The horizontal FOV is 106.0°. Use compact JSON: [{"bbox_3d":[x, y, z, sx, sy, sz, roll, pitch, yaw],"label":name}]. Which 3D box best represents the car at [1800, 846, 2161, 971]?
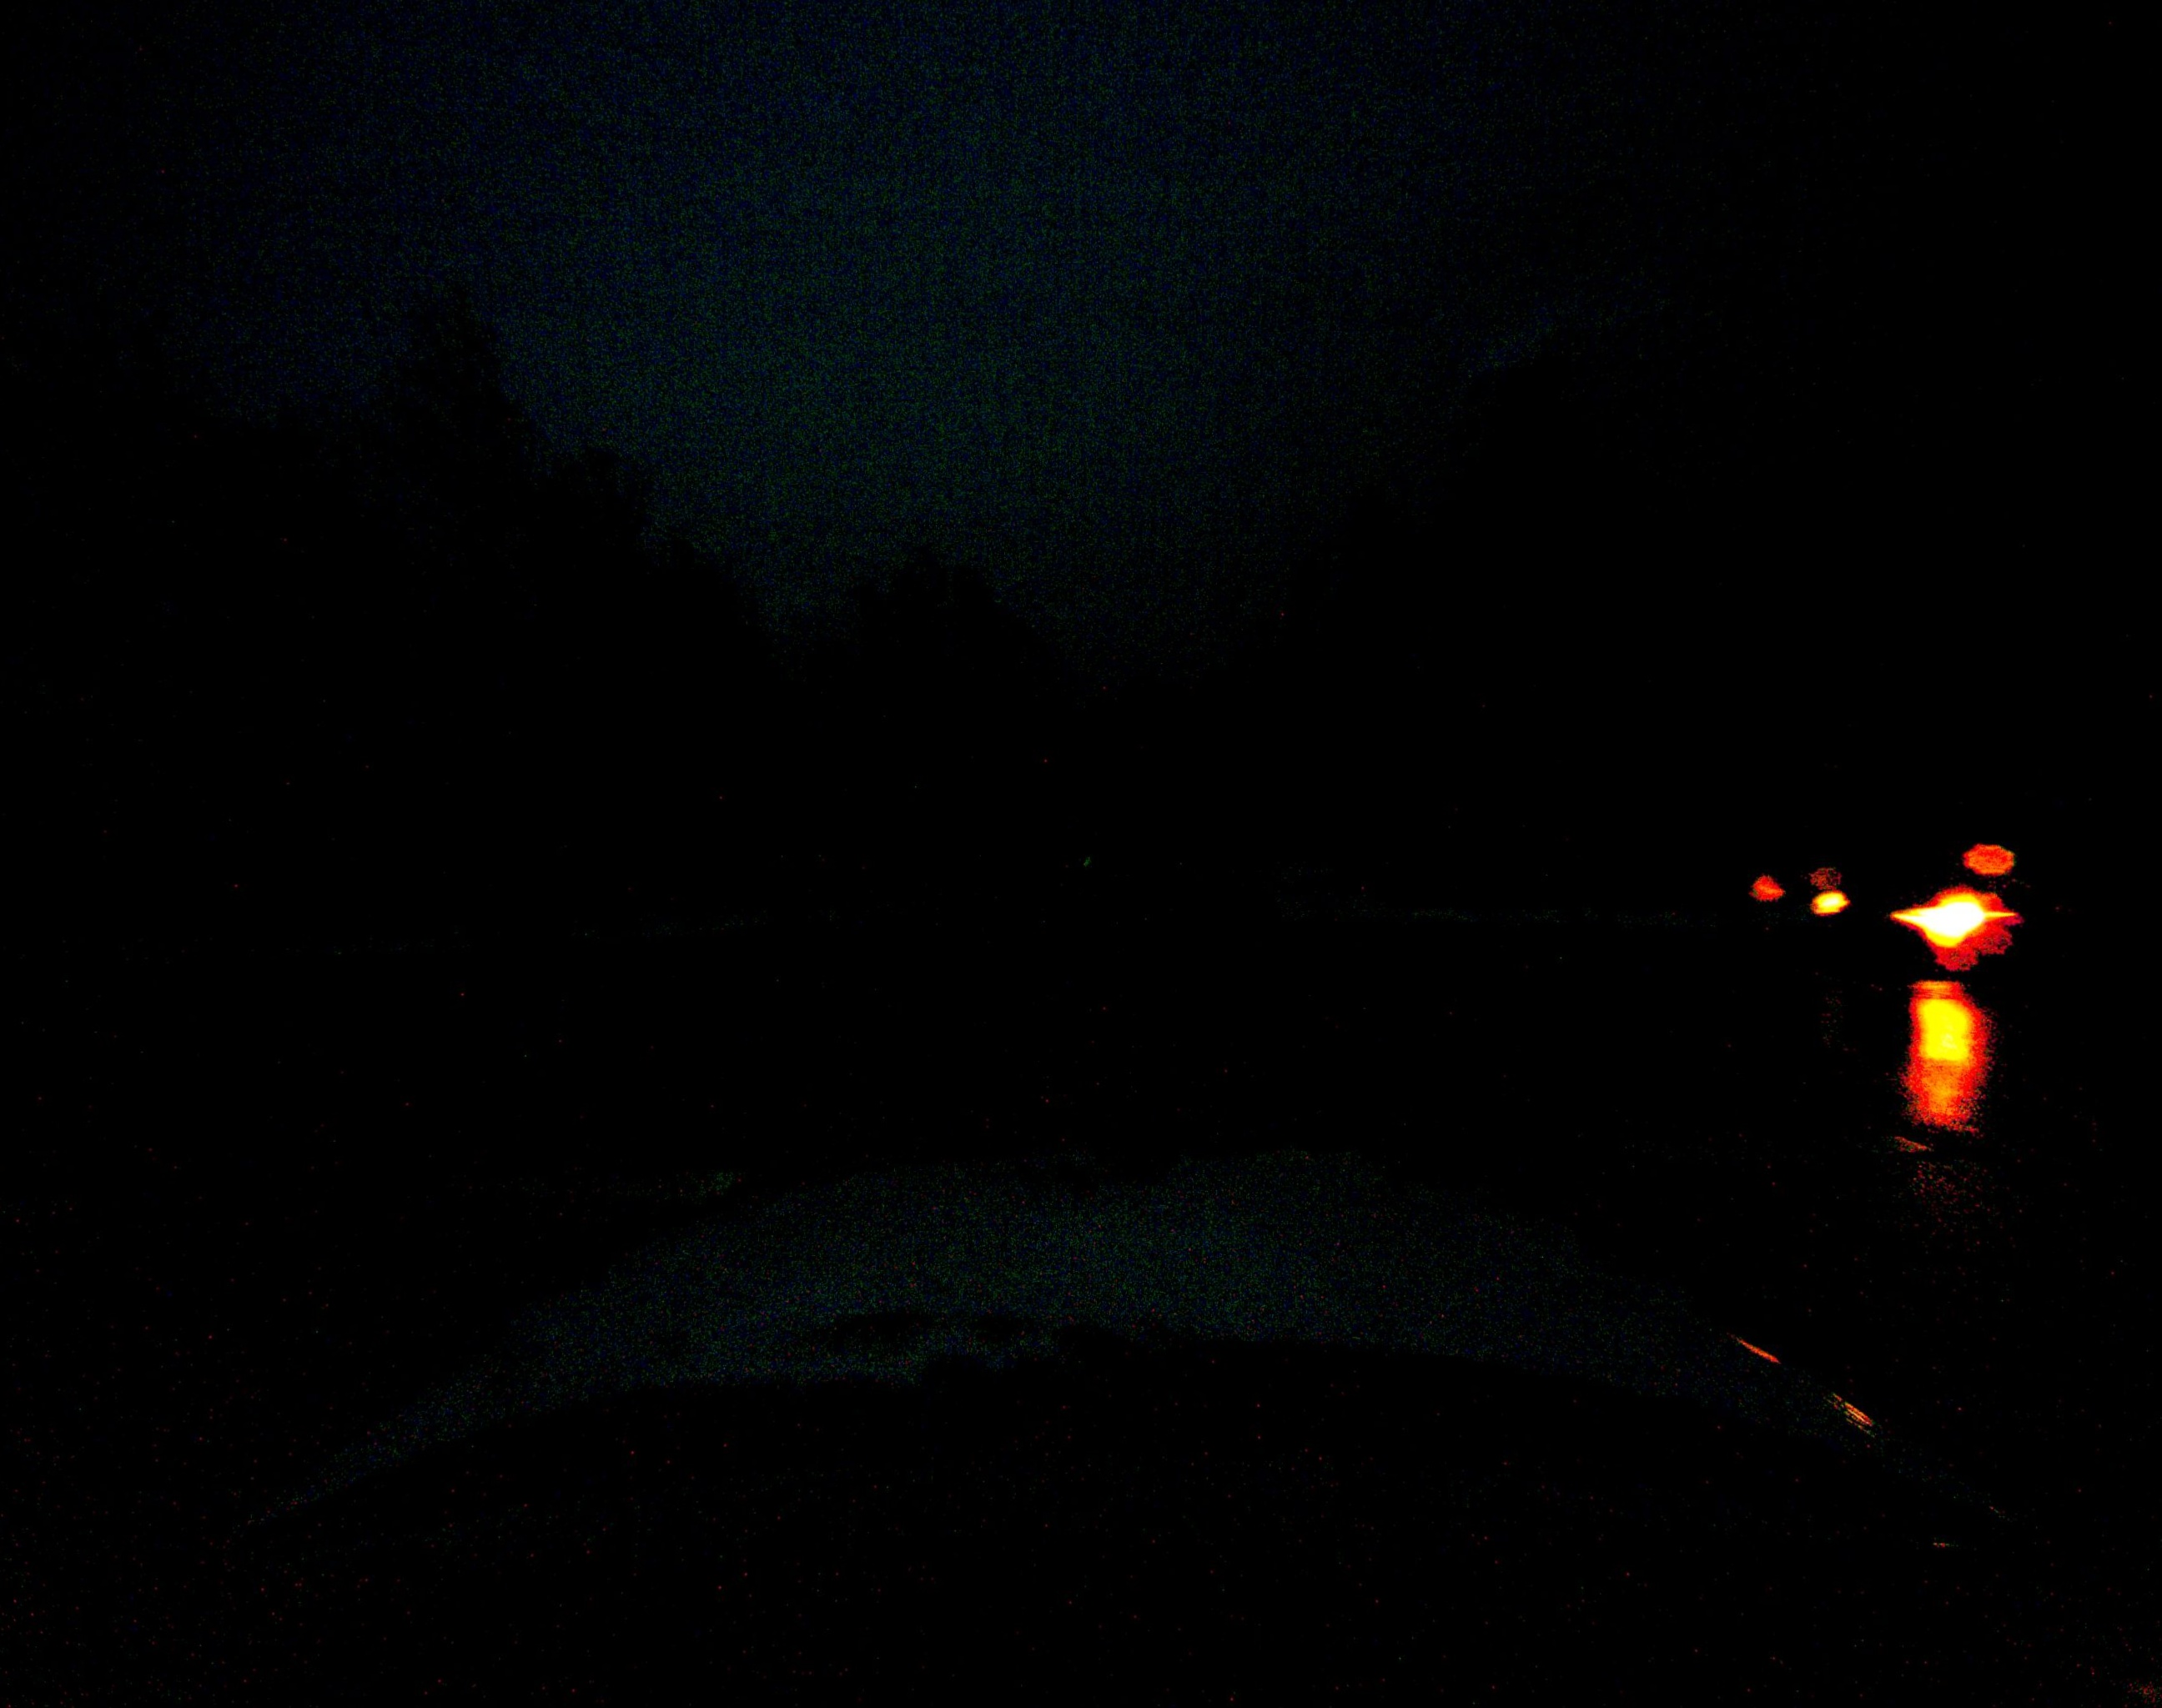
[{"bbox_3d":[11.617,0.644,10.478,3.392,1.452,1.576,-1,-1,-1],"label":"car"}]

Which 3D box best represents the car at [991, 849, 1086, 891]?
[{"bbox_3d":[-1.960,0.755,37.861,3.915,1.881,2.009,0,-2,18],"label":"car"}]

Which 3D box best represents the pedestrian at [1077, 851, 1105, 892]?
[{"bbox_3d":[0.452,0.795,36.564,0.952,1.828,0.930,-1,-2,23],"label":"pedestrian"}]
